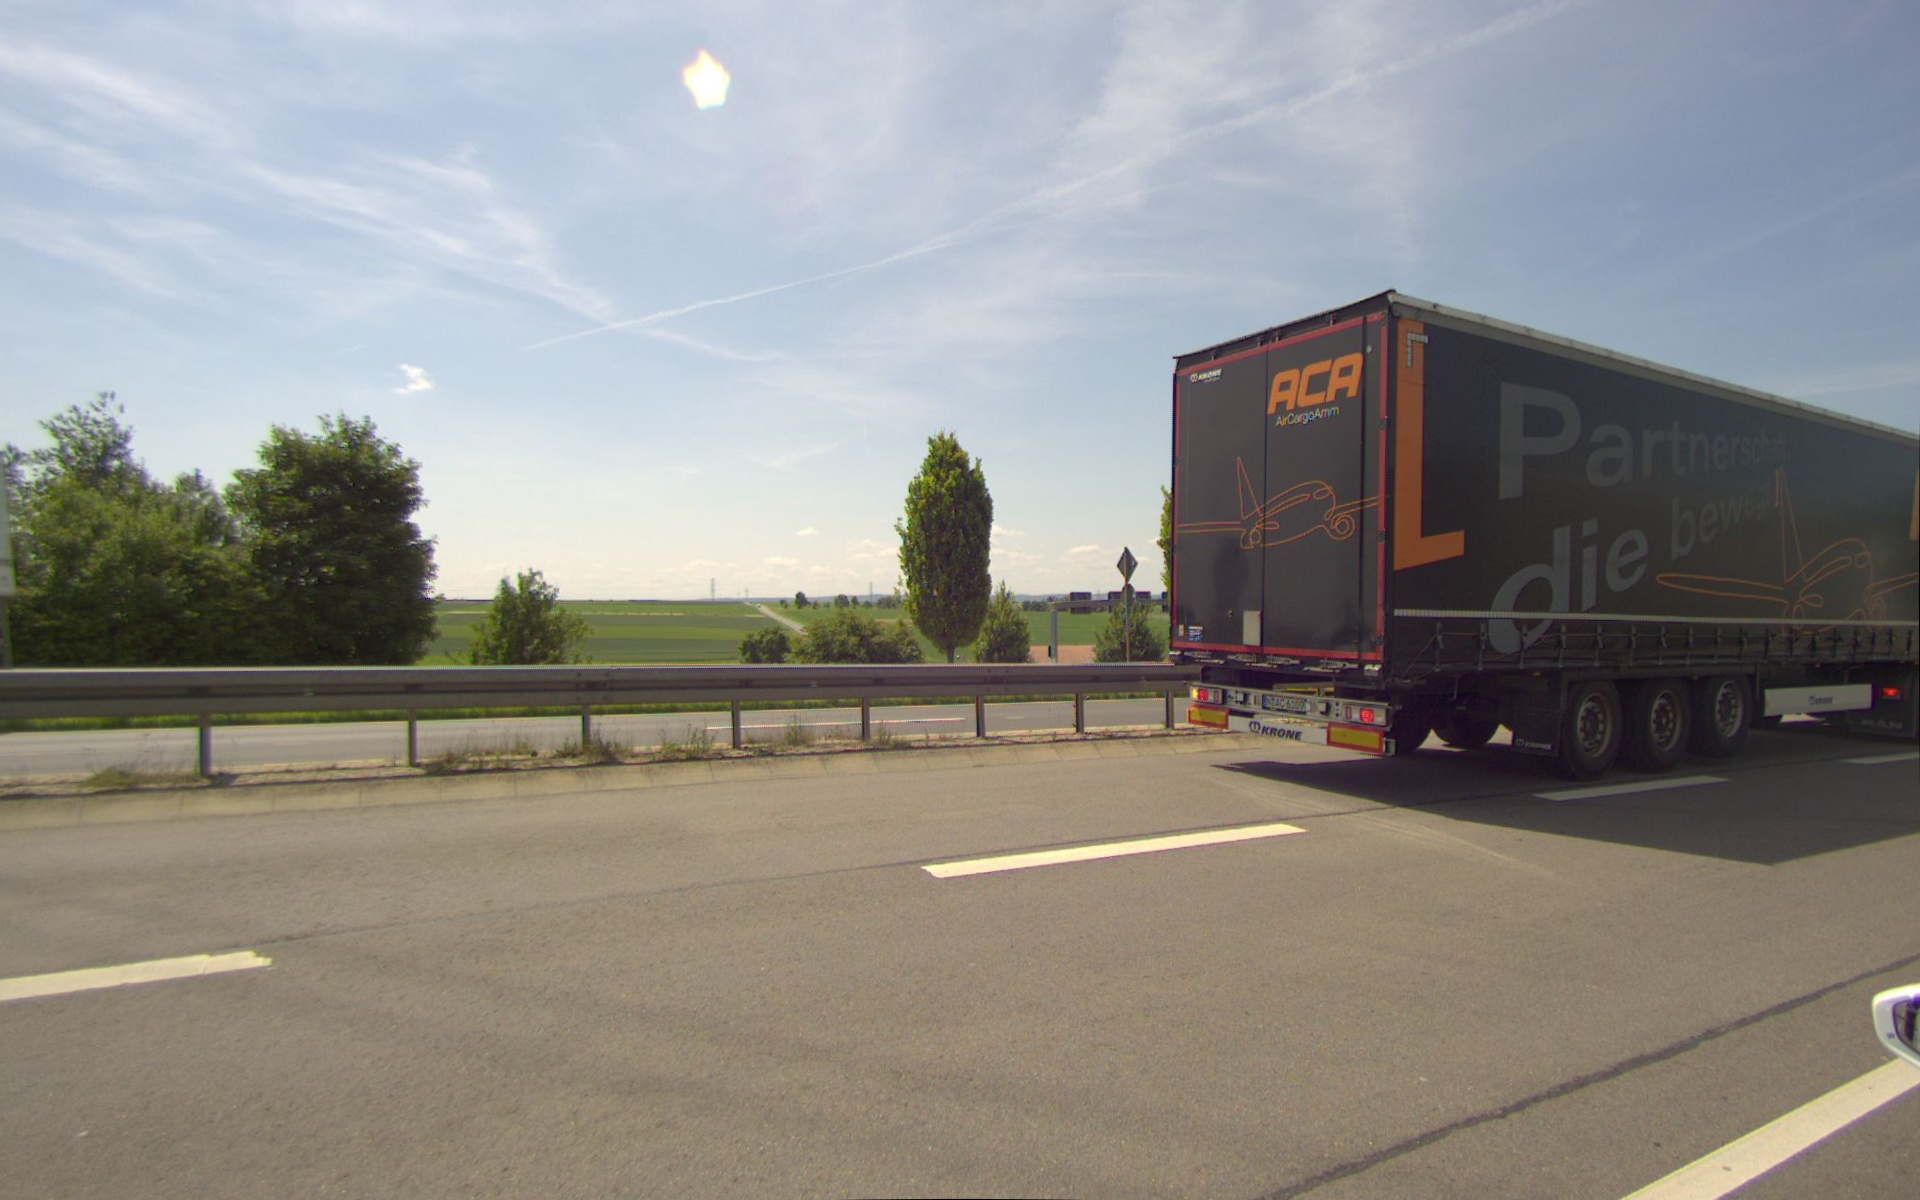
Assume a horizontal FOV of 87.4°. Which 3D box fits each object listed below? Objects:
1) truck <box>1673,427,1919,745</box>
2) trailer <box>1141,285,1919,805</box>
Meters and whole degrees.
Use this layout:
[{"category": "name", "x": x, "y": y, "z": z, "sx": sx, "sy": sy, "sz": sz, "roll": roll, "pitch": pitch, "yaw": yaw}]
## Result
[{"category": "truck", "x": 14.125, "y": -0.106, "z": 15.546, "sx": 5.900, "sy": 4.067, "sz": 2.770, "roll": 2, "pitch": 0, "yaw": -30}, {"category": "trailer", "x": 8.430, "y": -0.229, "z": 12.267, "sx": 13.623, "sy": 3.965, "sz": 2.770, "roll": 2, "pitch": 0, "yaw": -30}]
